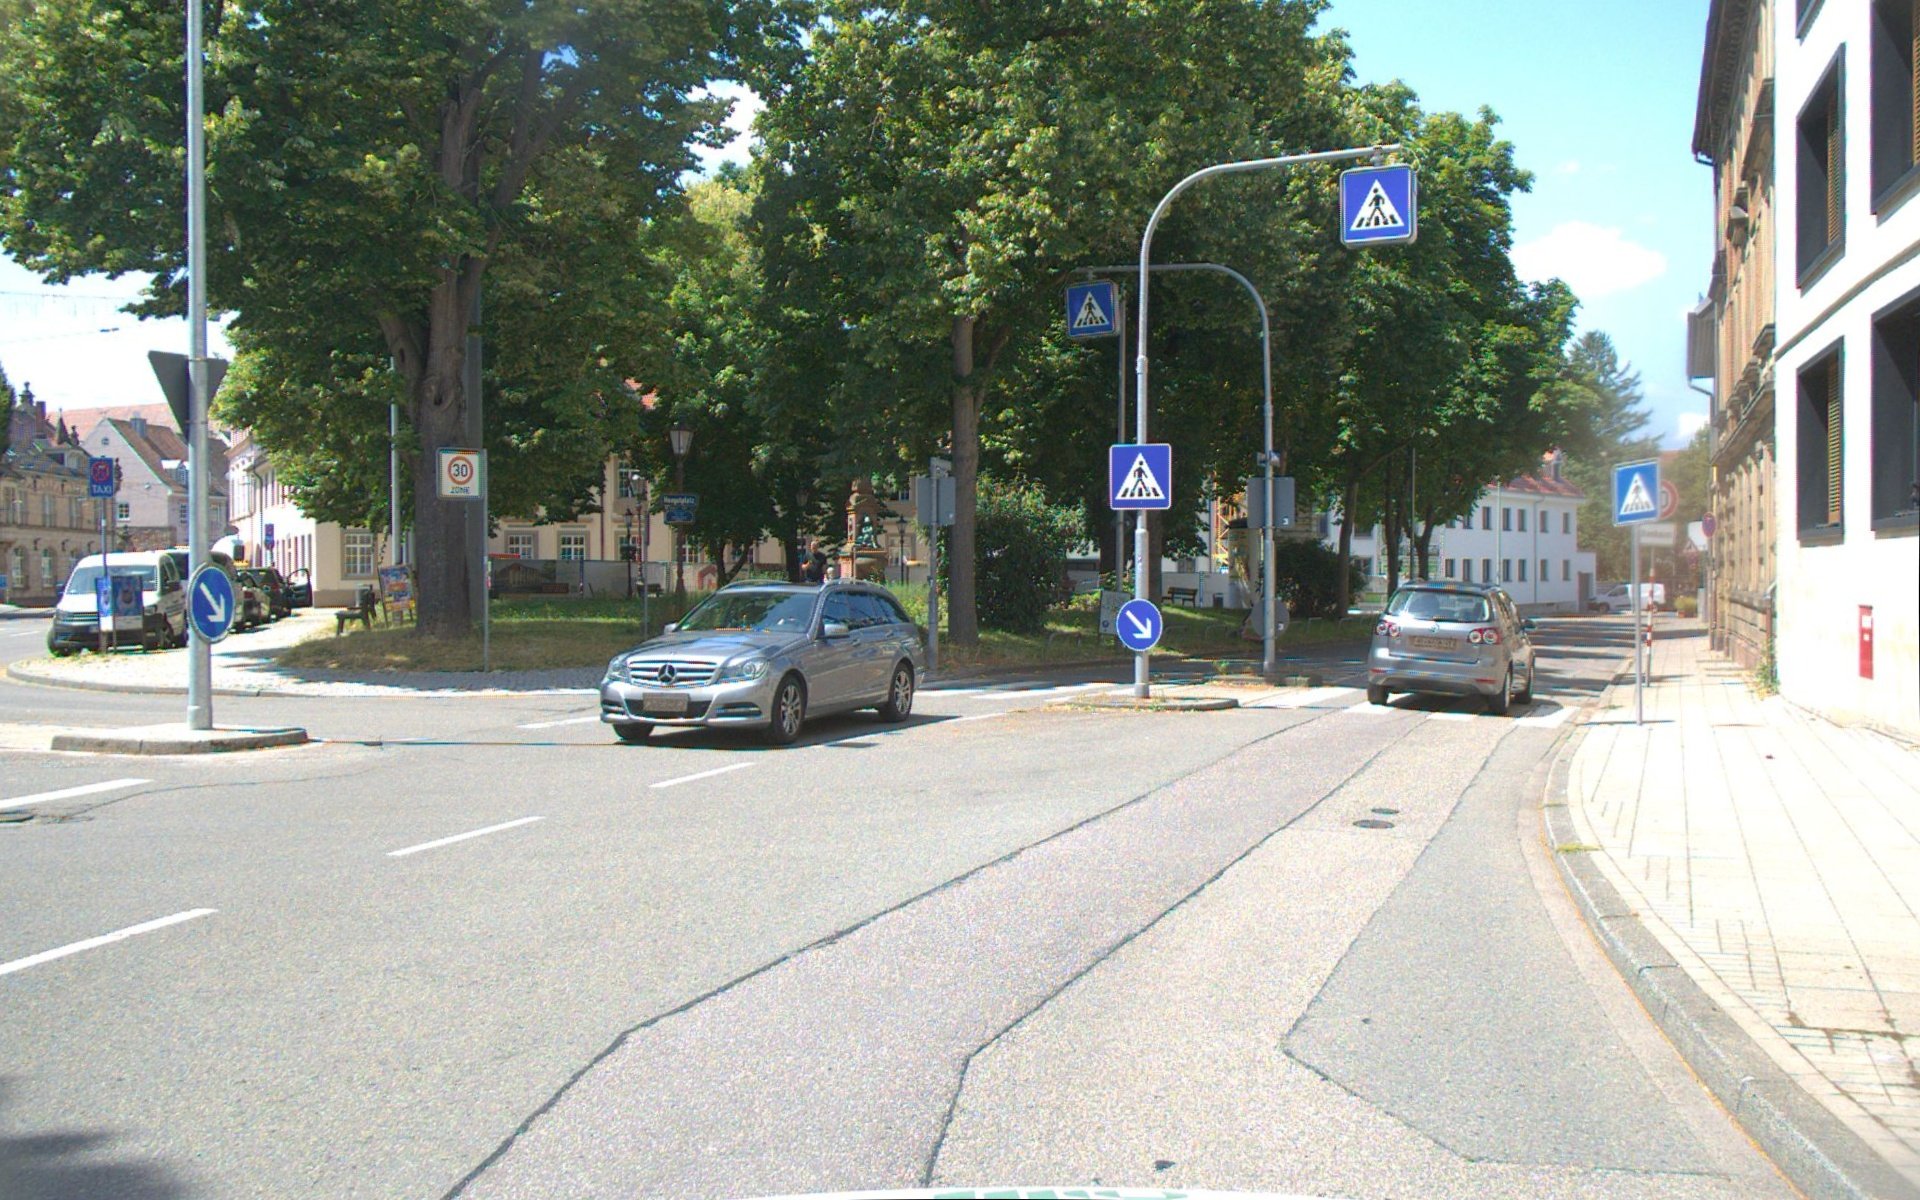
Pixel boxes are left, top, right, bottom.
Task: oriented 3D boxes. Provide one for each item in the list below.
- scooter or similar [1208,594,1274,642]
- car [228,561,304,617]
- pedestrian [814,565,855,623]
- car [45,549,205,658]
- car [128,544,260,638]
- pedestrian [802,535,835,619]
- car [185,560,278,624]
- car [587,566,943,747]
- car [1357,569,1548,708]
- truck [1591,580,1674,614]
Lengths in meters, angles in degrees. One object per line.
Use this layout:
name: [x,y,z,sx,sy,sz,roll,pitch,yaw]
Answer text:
scooter or similar: [7.168,0.438,42.135,1.248,1.007,1.452,10,4,21]
car: [-21.922,-0.368,52.358,1.754,1.722,4.182,0,1,-16]
pedestrian: [-2.856,-0.153,37.710,0.887,1.273,1.148,0,2,-3]
car: [-15.342,0.029,30.621,1.963,1.858,4.400,0,1,-18]
car: [-17.785,-0.244,38.628,2.016,2.037,5.226,0,1,-16]
pedestrian: [-3.308,-0.535,38.589,0.733,1.944,0.684,0,2,-3]
car: [-19.935,-0.247,45.389,1.754,1.652,4.466,0,1,-16]
car: [-1.734,0.450,16.337,1.701,1.514,4.409,1,1,20]
car: [6.600,0.454,21.861,1.865,1.560,4.242,3,1,23]
truck: [42.450,-0.196,104.556,4.692,2.049,2.147,1,1,17]
